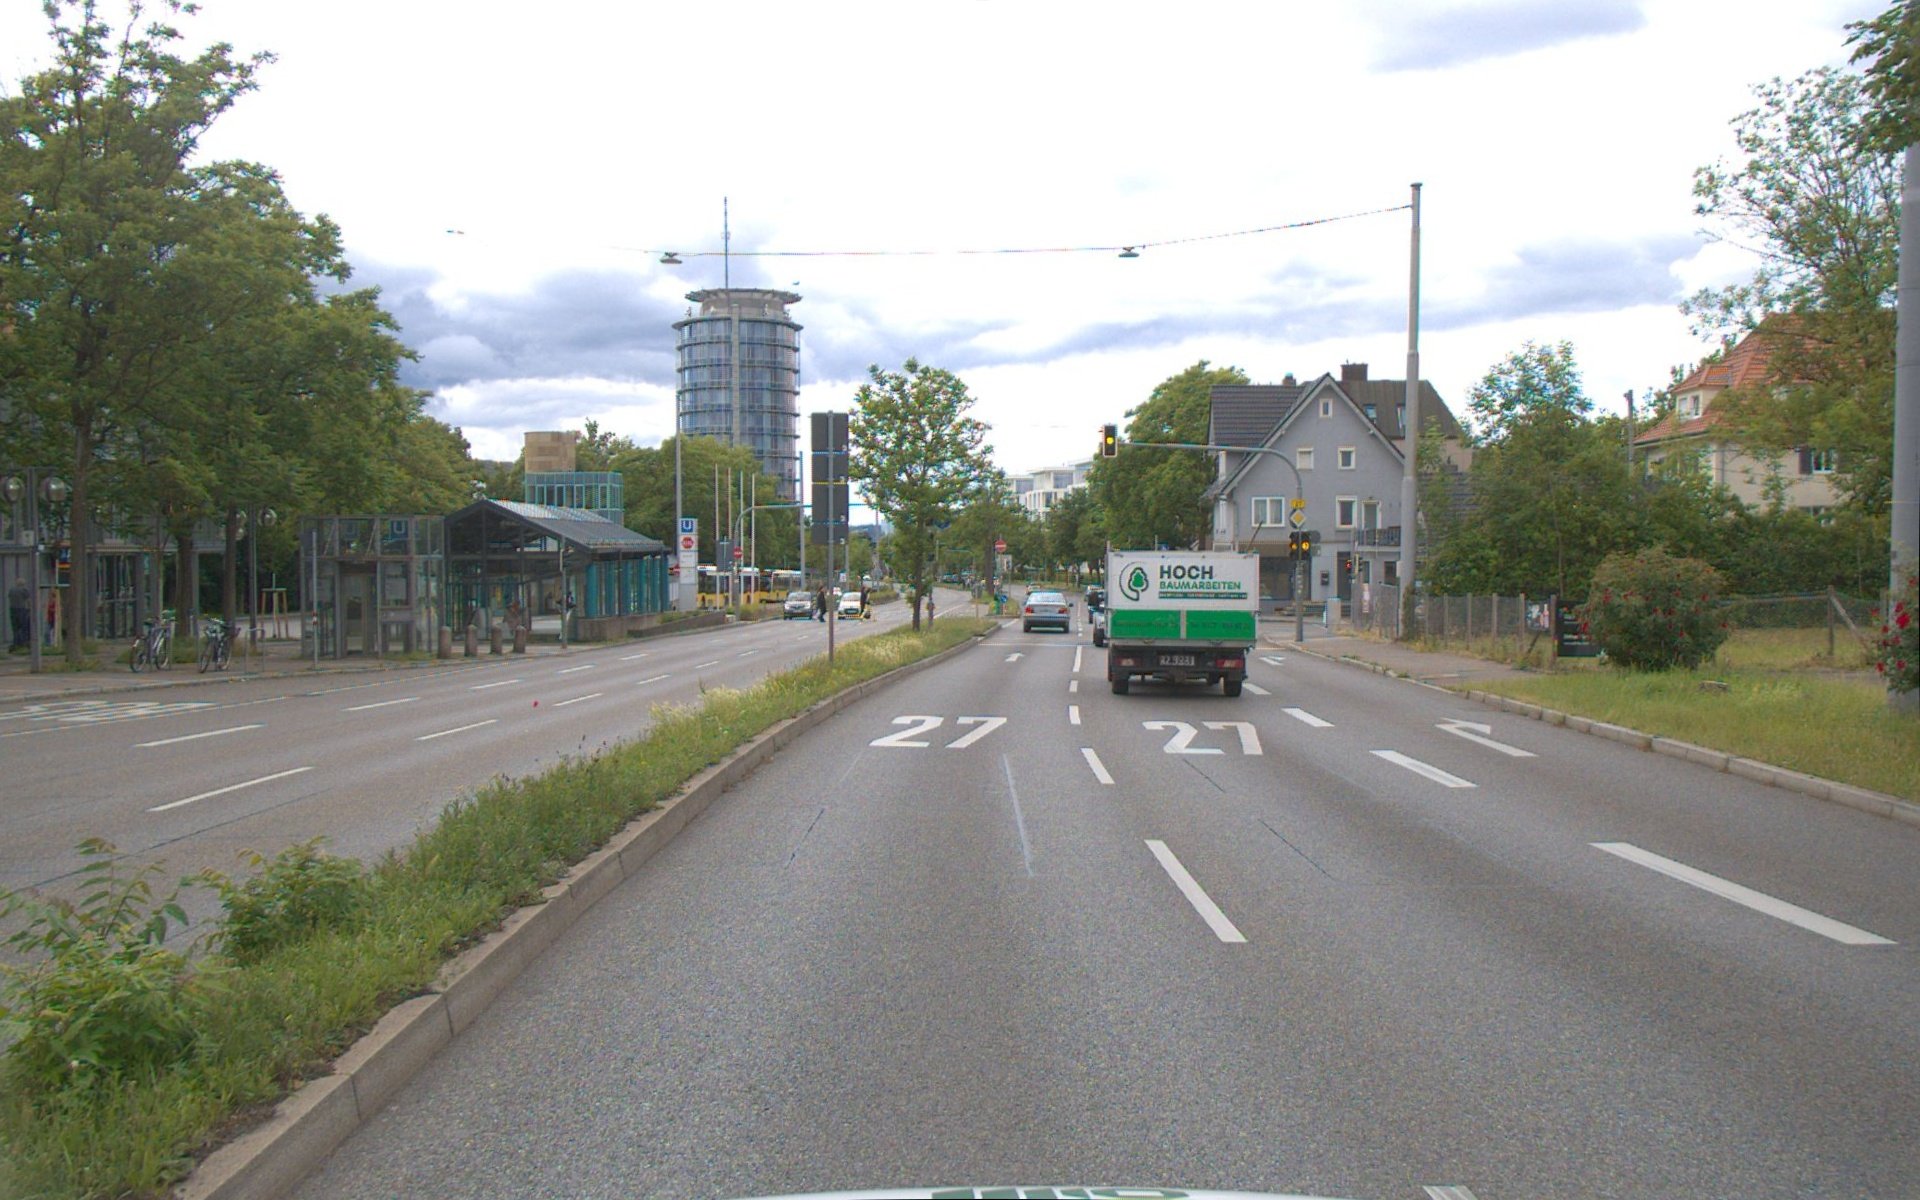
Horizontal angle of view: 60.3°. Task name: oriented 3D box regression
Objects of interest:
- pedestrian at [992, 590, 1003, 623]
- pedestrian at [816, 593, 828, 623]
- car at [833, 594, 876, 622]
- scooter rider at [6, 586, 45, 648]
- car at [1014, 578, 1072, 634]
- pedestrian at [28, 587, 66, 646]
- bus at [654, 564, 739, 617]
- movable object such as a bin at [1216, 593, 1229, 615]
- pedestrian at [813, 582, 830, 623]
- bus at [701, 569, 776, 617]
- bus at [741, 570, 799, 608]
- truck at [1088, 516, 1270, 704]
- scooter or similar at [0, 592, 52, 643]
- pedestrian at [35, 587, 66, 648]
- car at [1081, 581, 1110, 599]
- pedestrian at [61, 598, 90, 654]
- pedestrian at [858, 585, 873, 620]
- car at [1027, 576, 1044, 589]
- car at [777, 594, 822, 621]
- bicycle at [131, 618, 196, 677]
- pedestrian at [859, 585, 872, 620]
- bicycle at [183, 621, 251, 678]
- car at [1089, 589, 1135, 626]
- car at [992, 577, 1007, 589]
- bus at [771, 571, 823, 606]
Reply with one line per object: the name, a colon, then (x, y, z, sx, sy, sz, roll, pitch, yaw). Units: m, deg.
pedestrian: (1.985, 0.340, 87.454, 0.572, 1.746, 0.545, -1, 0, -2)
pedestrian: (-7.062, 0.394, 84.763, 0.532, 1.522, 0.487, -1, 0, 1)
car: (-5.949, 0.460, 93.716, 1.952, 1.512, 4.002, -1, 0, 3)
scooter rider: (-23.974, 0.436, 42.425, 0.514, 1.572, 0.707, 2, 0, 6)
car: (2.967, 0.186, 58.474, 1.951, 1.862, 4.002, 1, 0, 4)
pedestrian: (-25.165, 0.449, 45.592, 0.622, 1.614, 0.824, -1, 0, -6)
bus: (-18.353, -0.633, 116.038, 2.771, 3.490, 10.742, -1, 0, 8)
movable object such as a bin: (13.443, 0.208, 84.703, 0.591, 1.078, 0.590, 1, 0, 6)
pedestrian: (-7.047, 0.111, 84.087, 0.813, 2.049, 0.545, -1, 0, -3)
bus: (-16.813, -0.539, 126.410, 2.771, 3.490, 10.742, -1, 0, 8)
bus: (-18.138, -1.017, 158.365, 2.771, 3.490, 10.742, -1, 0, 8)
truck: (3.380, 0.062, 26.899, 2.419, 2.657, 6.551, 1, 1, 3)
scooter or similar: (-23.967, 0.436, 42.449, 0.470, 1.289, 1.289, 2, 0, 6)
pedestrian: (-26.711, 0.500, 48.578, 0.553, 1.757, 0.680, -1, 0, -4)
car: (12.026, -0.862, 147.231, 1.954, 1.579, 3.996, -1, 0, -4)
pedestrian: (-26.010, 0.762, 48.639, 0.507, 1.616, 0.680, -1, 0, -4)
pedestrian: (-4.818, 0.131, 84.405, 0.730, 1.746, 0.582, -1, 0, -2)
car: (8.987, -2.073, 197.397, 1.952, 1.545, 4.001, -1, 0, 1)
car: (-9.107, 0.422, 94.288, 1.952, 1.512, 4.002, -1, 0, 3)
bicycle: (-16.714, 0.985, 34.751, 0.700, 1.156, 1.952, -1, 1, -10)
pedestrian: (-4.779, 0.142, 83.797, 0.640, 1.746, 0.452, -1, 0, -3)
bicycle: (-15.626, 1.027, 34.830, 0.815, 1.102, 1.932, -1, 1, -9)
car: (6.835, 0.316, 74.743, 1.951, 1.579, 4.002, 1, 0, 4)
car: (5.168, -2.247, 218.648, 1.952, 1.545, 4.001, -1, 0, 1)
bus: (-16.578, -1.150, 169.021, 2.771, 3.490, 10.742, -1, 0, 8)
